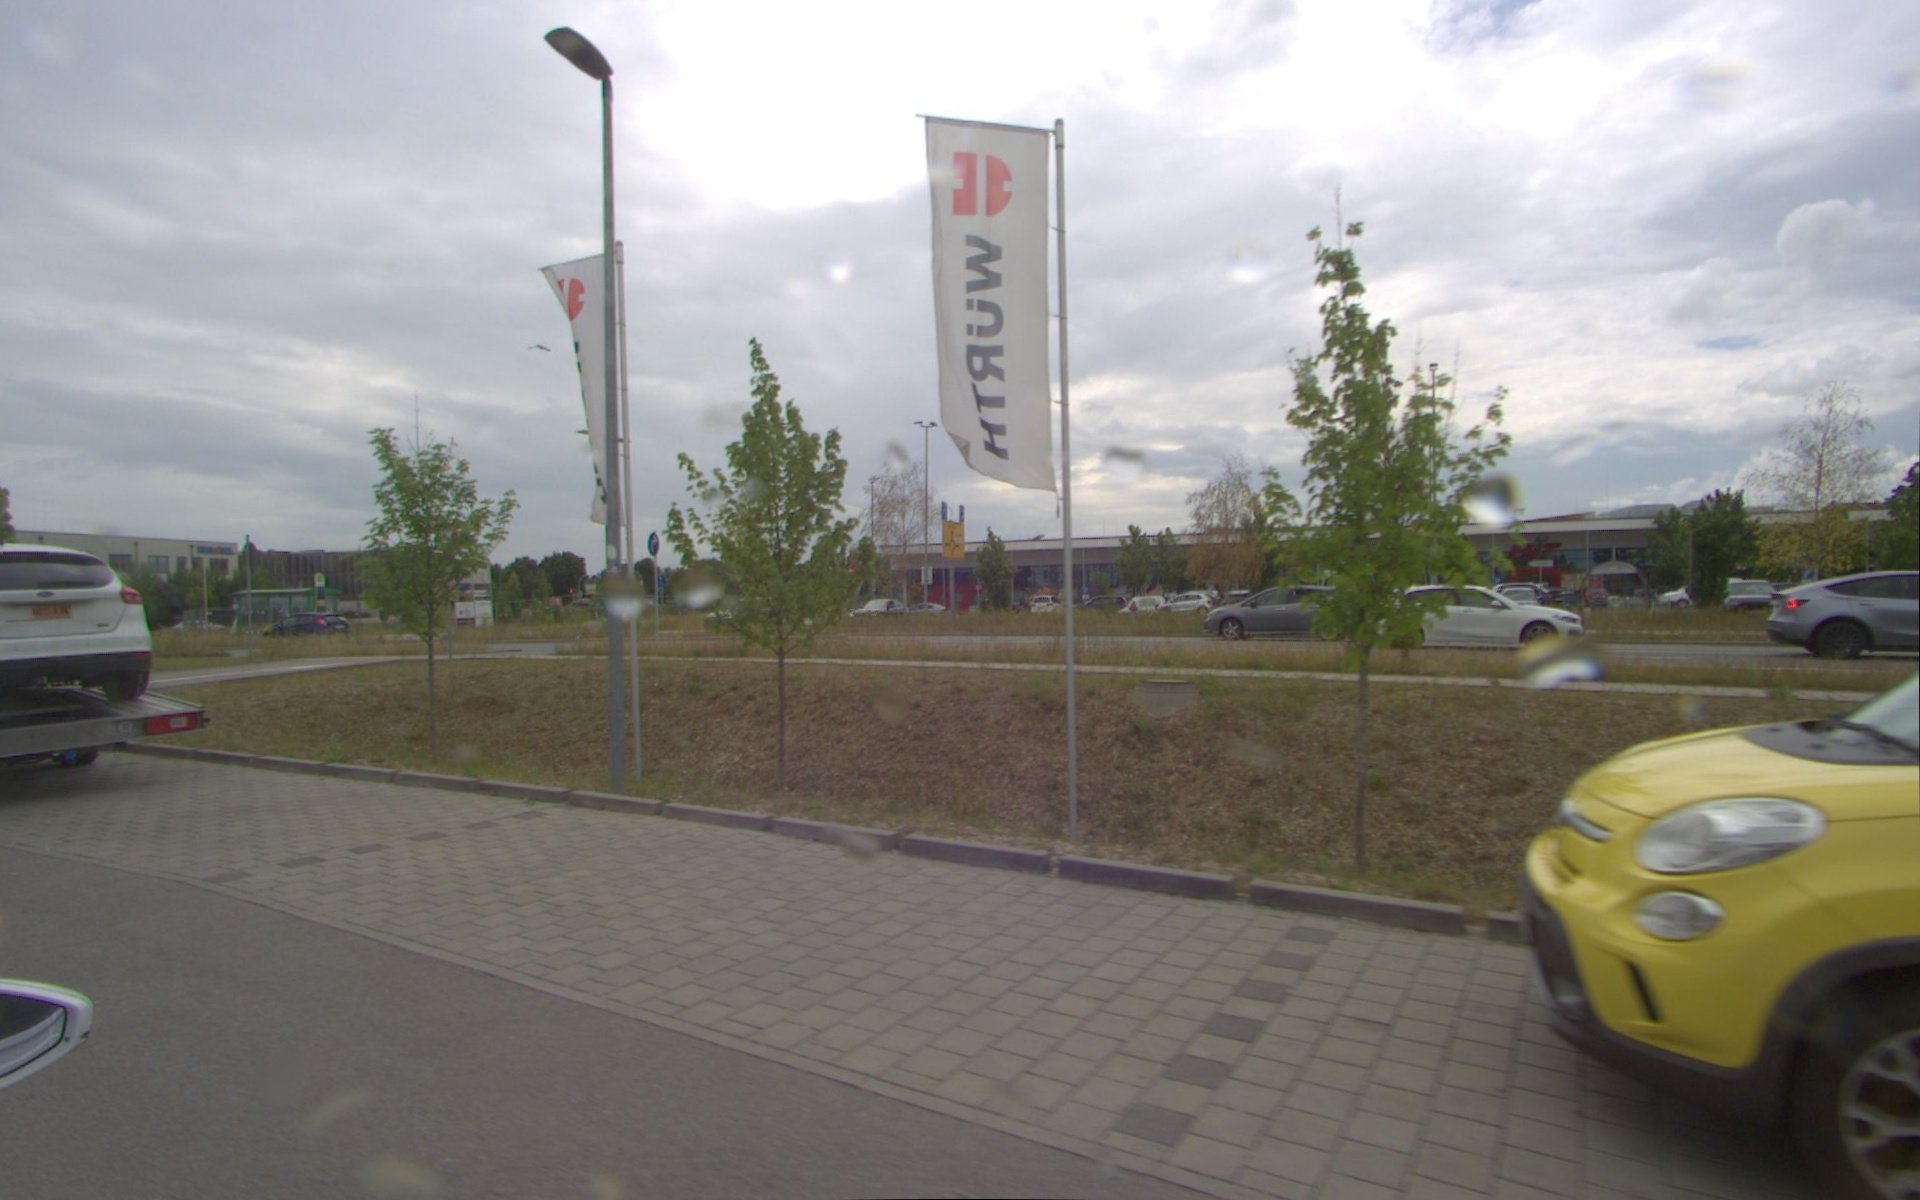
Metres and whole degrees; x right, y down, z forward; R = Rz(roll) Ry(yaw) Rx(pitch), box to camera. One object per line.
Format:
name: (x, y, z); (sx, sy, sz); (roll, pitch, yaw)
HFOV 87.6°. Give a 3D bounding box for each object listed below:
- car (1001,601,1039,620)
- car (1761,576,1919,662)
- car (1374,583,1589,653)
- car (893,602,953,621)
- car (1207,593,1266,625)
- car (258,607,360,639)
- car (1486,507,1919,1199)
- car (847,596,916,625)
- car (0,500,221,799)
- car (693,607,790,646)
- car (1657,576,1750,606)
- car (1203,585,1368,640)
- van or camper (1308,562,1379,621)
car: (4.886, 0.841, 81.214); (1.880, 1.463, 3.990); (-1, 0, 21)
car: (17.889, 0.327, 18.341); (4.814, 1.528, 1.800); (0, 1, 33)
car: (11.799, 0.409, 22.774); (4.187, 1.469, 1.792); (-1, 0, 31)
car: (-2.656, 0.816, 72.071); (3.928, 1.370, 1.997); (0, 0, 17)
car: (13.276, 0.430, 47.887); (1.963, 1.470, 4.134); (0, 0, 27)
car: (-28.736, 1.013, 44.188); (3.929, 1.342, 1.716); (0, 1, 19)
car: (3.708, 0.637, 2.452); (4.230, 1.705, 1.746); (0, 0, 27)
car: (-4.081, 0.532, 52.850); (1.755, 1.464, 4.598); (-1, 0, 22)
car: (-10.679, 0.451, 10.217); (7.741, 2.353, 2.190); (-1, 0, 31)
car: (-9.391, 1.110, 43.390); (1.769, 1.486, 4.304); (0, 1, 26)
car: (42.961, -0.524, 57.960); (3.928, 1.662, 1.873); (0, 1, 18)
car: (9.278, 0.359, 28.590); (4.201, 1.475, 1.991); (0, 0, 30)
van or camper: (17.230, -0.375, 44.925); (2.257, 2.526, 3.978); (0, 1, 32)
